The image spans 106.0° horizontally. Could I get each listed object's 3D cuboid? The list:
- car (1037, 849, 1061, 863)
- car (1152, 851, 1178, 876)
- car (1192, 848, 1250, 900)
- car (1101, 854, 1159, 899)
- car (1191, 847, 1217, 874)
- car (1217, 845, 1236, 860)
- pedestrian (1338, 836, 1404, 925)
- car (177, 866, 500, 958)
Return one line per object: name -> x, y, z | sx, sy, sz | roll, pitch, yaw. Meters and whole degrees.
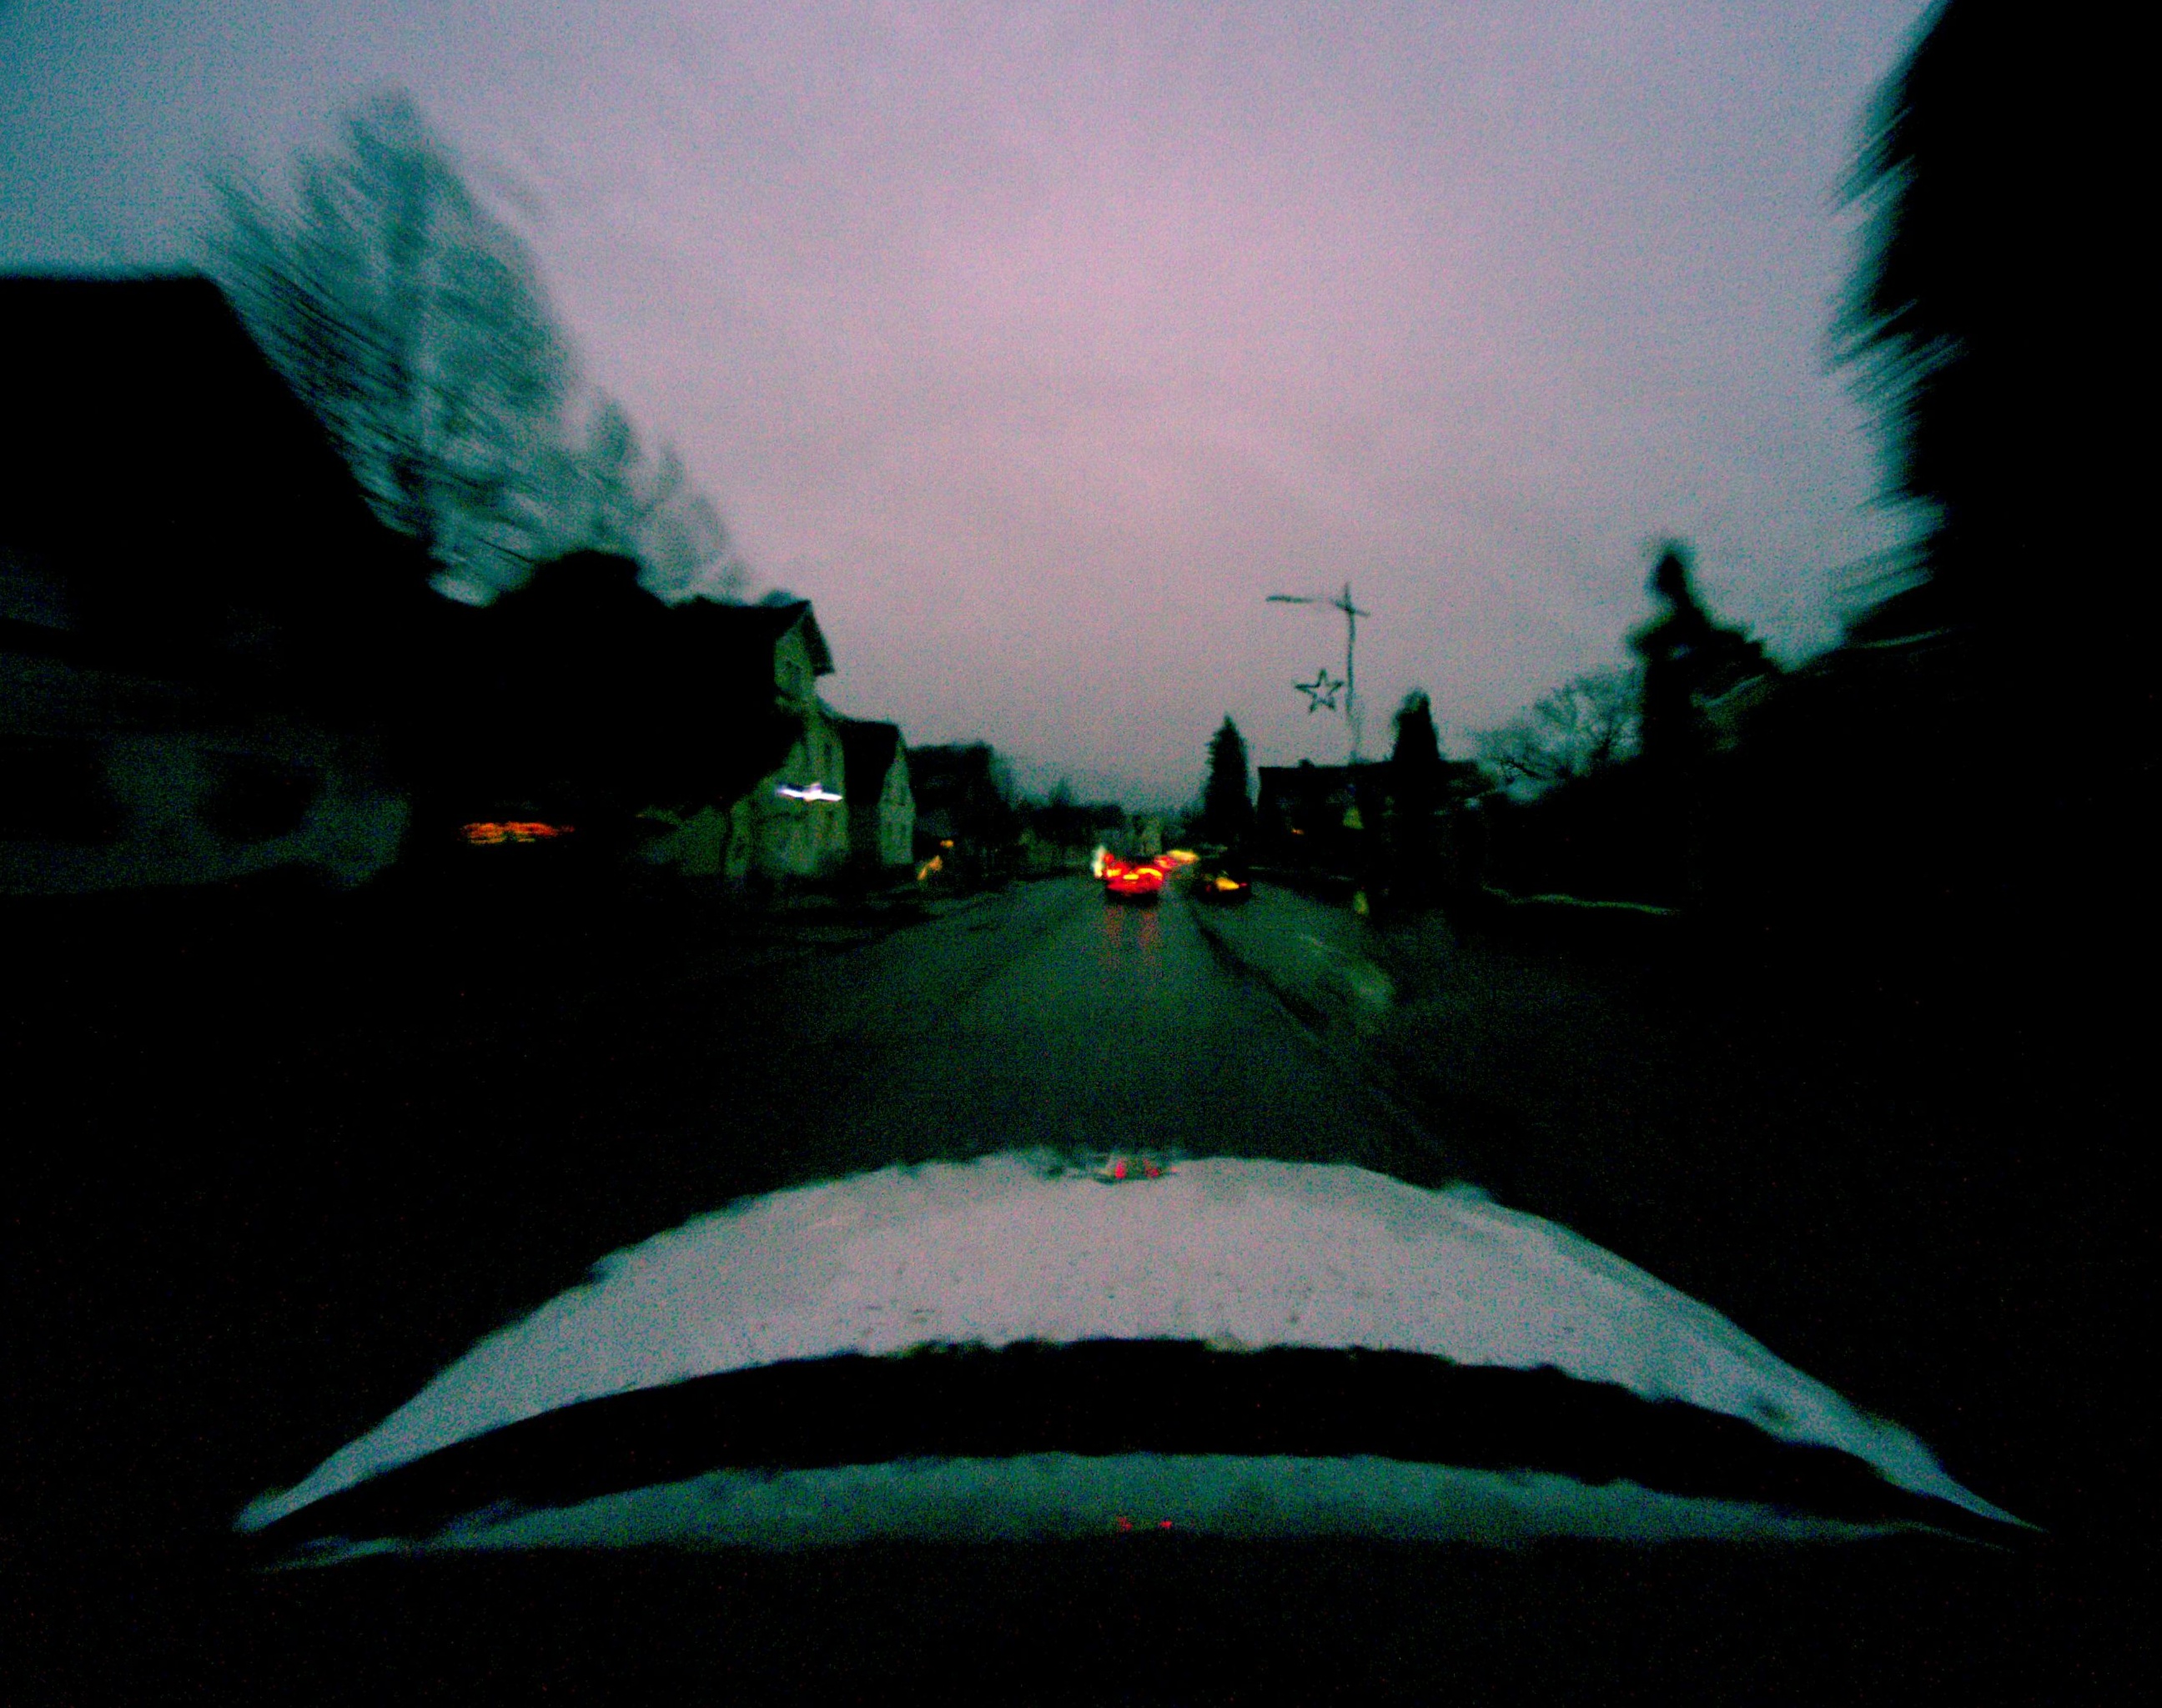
car -> -4.782, 0.342, 120.646 | 1.976, 2.013, 4.023 | 1, 1, 24
car -> 6.942, 0.756, 67.989 | 1.985, 2.014, 4.004 | -1, -1, 3
car -> 4.754, 0.646, 28.115 | 1.641, 1.540, 3.396 | -5, -1, 6
car -> 1.787, 0.771, 30.010 | 1.985, 1.525, 4.003 | -1, 0, 3
car -> 10.287, 0.504, 67.982 | 1.966, 2.013, 5.759 | -4, 0, 9
car -> 18.185, -0.201, 101.783 | 1.731, 1.785, 4.355 | -4, 0, 17
pedestrian -> 6.013, 0.537, 16.943 | 0.982, 1.742, 1.057 | -3, -1, 5
car -> -12.723, 0.917, 14.371 | 1.772, 1.366, 4.007 | -1, -1, 6
